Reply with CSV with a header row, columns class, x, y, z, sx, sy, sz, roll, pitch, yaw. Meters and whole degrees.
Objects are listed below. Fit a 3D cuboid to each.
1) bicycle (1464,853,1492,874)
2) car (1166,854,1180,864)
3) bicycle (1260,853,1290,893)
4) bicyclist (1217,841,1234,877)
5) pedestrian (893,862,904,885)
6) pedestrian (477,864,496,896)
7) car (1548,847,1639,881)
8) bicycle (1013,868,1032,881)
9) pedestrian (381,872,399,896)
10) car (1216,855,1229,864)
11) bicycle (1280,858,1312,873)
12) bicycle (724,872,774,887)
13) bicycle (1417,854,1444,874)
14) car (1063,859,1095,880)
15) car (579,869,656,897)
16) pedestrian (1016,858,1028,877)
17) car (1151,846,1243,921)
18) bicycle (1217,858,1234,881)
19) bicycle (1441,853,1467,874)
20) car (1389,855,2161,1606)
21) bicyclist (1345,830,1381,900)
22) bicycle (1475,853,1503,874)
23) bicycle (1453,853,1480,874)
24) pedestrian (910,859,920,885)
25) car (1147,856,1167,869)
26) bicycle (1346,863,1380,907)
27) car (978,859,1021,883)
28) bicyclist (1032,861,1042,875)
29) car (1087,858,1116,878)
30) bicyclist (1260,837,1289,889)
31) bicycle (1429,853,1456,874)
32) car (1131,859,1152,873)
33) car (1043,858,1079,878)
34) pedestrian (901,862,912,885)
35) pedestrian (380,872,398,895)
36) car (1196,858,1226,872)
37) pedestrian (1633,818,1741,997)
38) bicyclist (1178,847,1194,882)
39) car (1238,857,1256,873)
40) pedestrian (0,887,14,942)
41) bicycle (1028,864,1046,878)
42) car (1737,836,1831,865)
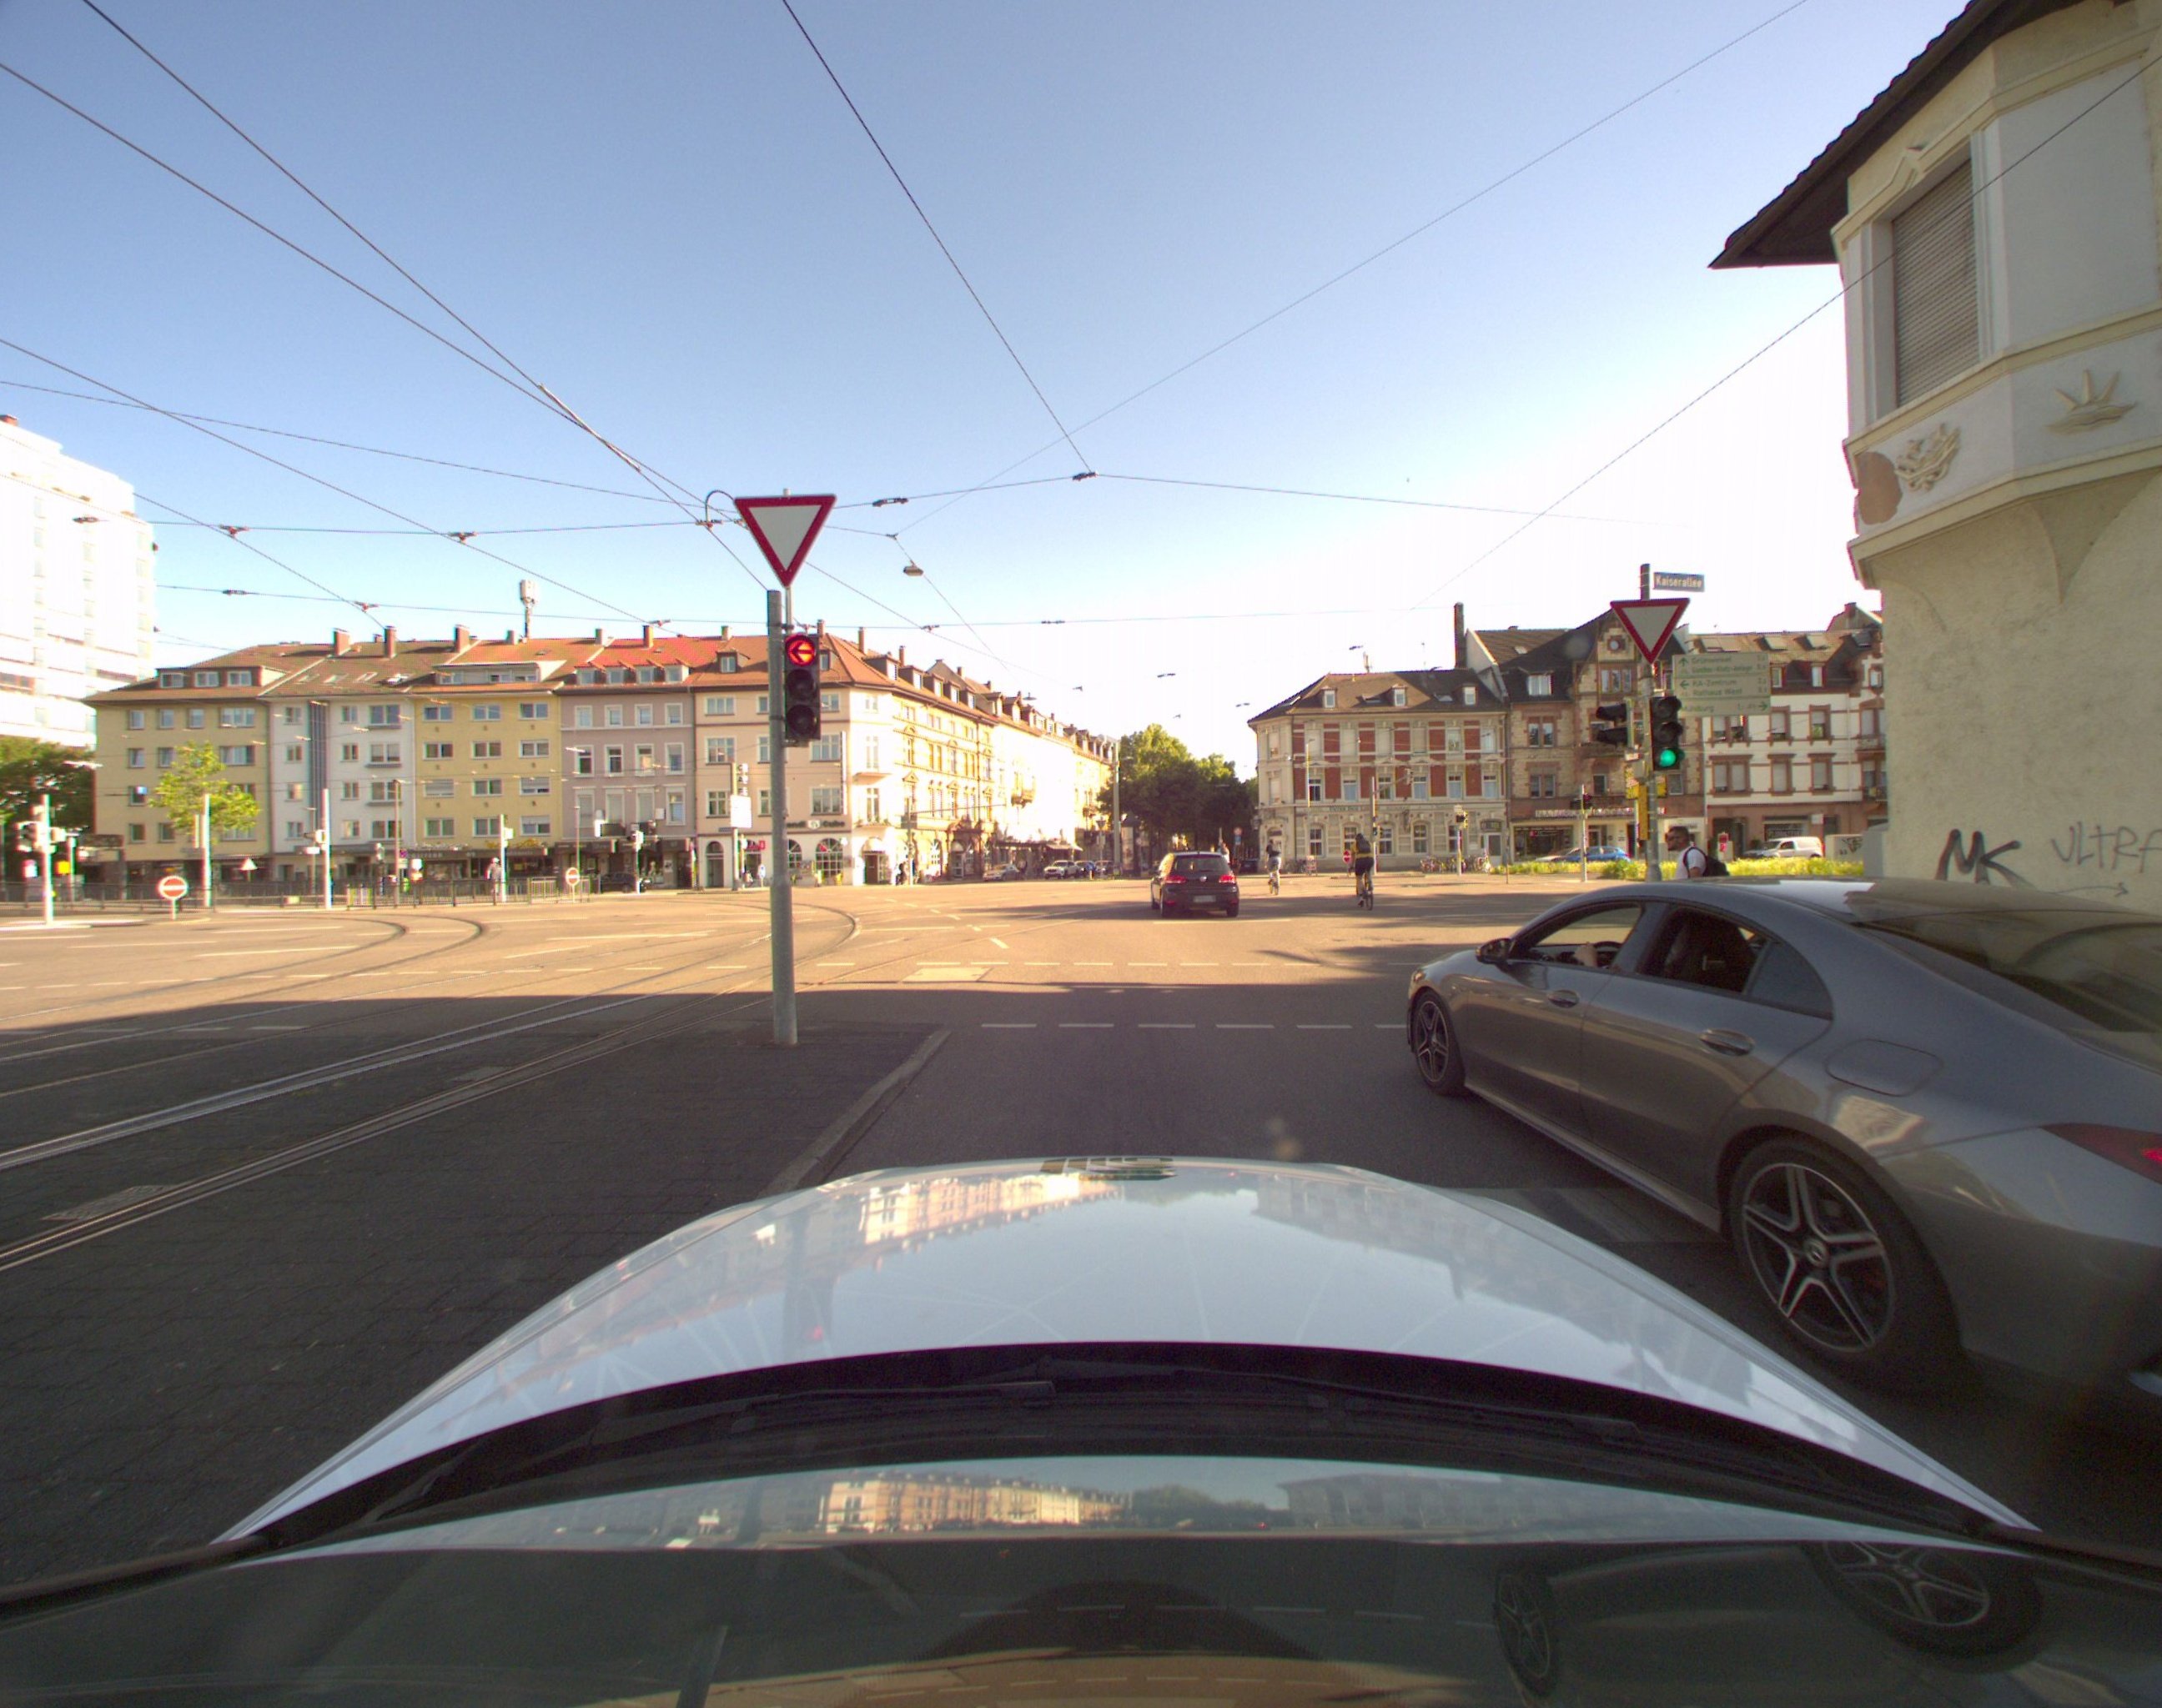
class,x,y,z,sx,sy,sz,roll,pitch,yaw
bicycle,25.502,0.616,52.377,0.626,1.287,2.663,0,-1,3
car,14.946,0.801,132.595,1.546,1.513,3.673,-1,-1,19
bicycle,6.243,0.610,26.247,0.751,1.236,1.706,0,-1,7
bicyclist,6.627,0.215,37.234,0.684,1.633,0.887,-1,-1,14
pedestrian,-12.637,1.348,56.363,0.631,1.634,0.700,0,-1,-2
pedestrian,-30.380,1.336,41.638,0.523,1.628,0.577,0,-1,0
car,28.343,0.548,45.128,3.769,1.778,2.000,0,-1,1
bicycle,-4.731,1.633,65.554,0.756,1.008,2.406,-1,-1,16
pedestrian,-47.787,2.080,56.286,0.631,1.634,0.700,0,-1,-2
car,23.303,0.918,134.366,1.546,1.513,3.673,-1,-1,19
bicycle,15.006,0.803,56.909,2.040,0.998,0.631,-1,-1,4
bicycle,-23.425,1.784,57.464,3.118,0.980,1.002,0,-1,1
bicycle,22.478,0.632,52.438,0.689,1.287,2.663,0,-1,3
car,-0.128,1.382,73.726,1.979,1.904,4.015,-1,-1,14
car,-30.589,1.911,53.816,3.962,1.670,2.006,-2,0,10
pedestrian,-4.759,1.103,65.486,0.814,1.512,0.601,-1,-1,16
car,2.630,0.597,19.245,1.722,1.508,4.053,0,1,2
bicycle,6.598,0.683,37.133,0.644,1.031,1.778,-1,-1,15
bicycle,23.984,0.598,52.409,0.626,1.287,2.663,0,-1,3
car,3.103,0.724,3.697,1.899,1.420,4.496,0,0,3
bicyclist,6.881,0.274,19.881,0.799,1.663,0.888,-1,-1,19
bicycle,26.197,0.614,52.348,0.626,1.287,2.663,0,-1,3
bicycle,24.774,0.622,52.381,0.626,1.287,2.663,0,-1,3
pedestrian,-12.233,1.310,60.062,0.460,1.881,0.637,-1,-1,12
car,11.486,1.330,122.637,1.977,1.904,4.019,-1,-1,19
bicycle,6.962,0.736,20.082,0.748,1.031,1.789,-1,-1,20
car,-6.736,1.366,67.473,1.977,1.904,4.019,-1,-1,19
bicyclist,-3.781,1.179,70.582,0.626,1.185,0.689,-1,-1,23
car,2.048,1.401,79.833,1.979,1.904,4.015,-1,-1,14
bicyclist,6.202,0.289,26.086,0.801,1.606,0.885,0,-1,7
bicycle,23.261,0.607,52.416,0.689,1.287,2.663,0,-1,3
car,8.403,1.619,112.688,1.977,1.904,4.019,-1,-1,19
car,-1.647,1.165,67.626,1.979,1.618,4.015,-1,-1,14
pedestrian,-12.346,1.356,57.710,0.631,1.634,0.700,0,-1,-2
pedestrian,-49.046,2.101,57.709,0.631,1.634,0.700,0,-1,-2
car,18.345,1.563,114.719,3.955,1.904,2.009,-1,-1,17
pedestrian,6.334,0.545,8.522,0.589,1.756,0.635,-5,-1,-37
bicyclist,4.487,0.439,34.934,0.635,1.494,0.885,0,1,6
car,16.821,1.110,82.357,1.680,1.565,3.855,-1,-1,14
pedestrian,-32.854,1.834,24.638,0.590,1.664,0.518,0,-1,-44
bicycle,-3.786,1.460,70.572,0.644,1.123,2.265,-1,-1,23
car,45.311,-0.222,52.560,4.349,1.778,2.000,0,-1,1
